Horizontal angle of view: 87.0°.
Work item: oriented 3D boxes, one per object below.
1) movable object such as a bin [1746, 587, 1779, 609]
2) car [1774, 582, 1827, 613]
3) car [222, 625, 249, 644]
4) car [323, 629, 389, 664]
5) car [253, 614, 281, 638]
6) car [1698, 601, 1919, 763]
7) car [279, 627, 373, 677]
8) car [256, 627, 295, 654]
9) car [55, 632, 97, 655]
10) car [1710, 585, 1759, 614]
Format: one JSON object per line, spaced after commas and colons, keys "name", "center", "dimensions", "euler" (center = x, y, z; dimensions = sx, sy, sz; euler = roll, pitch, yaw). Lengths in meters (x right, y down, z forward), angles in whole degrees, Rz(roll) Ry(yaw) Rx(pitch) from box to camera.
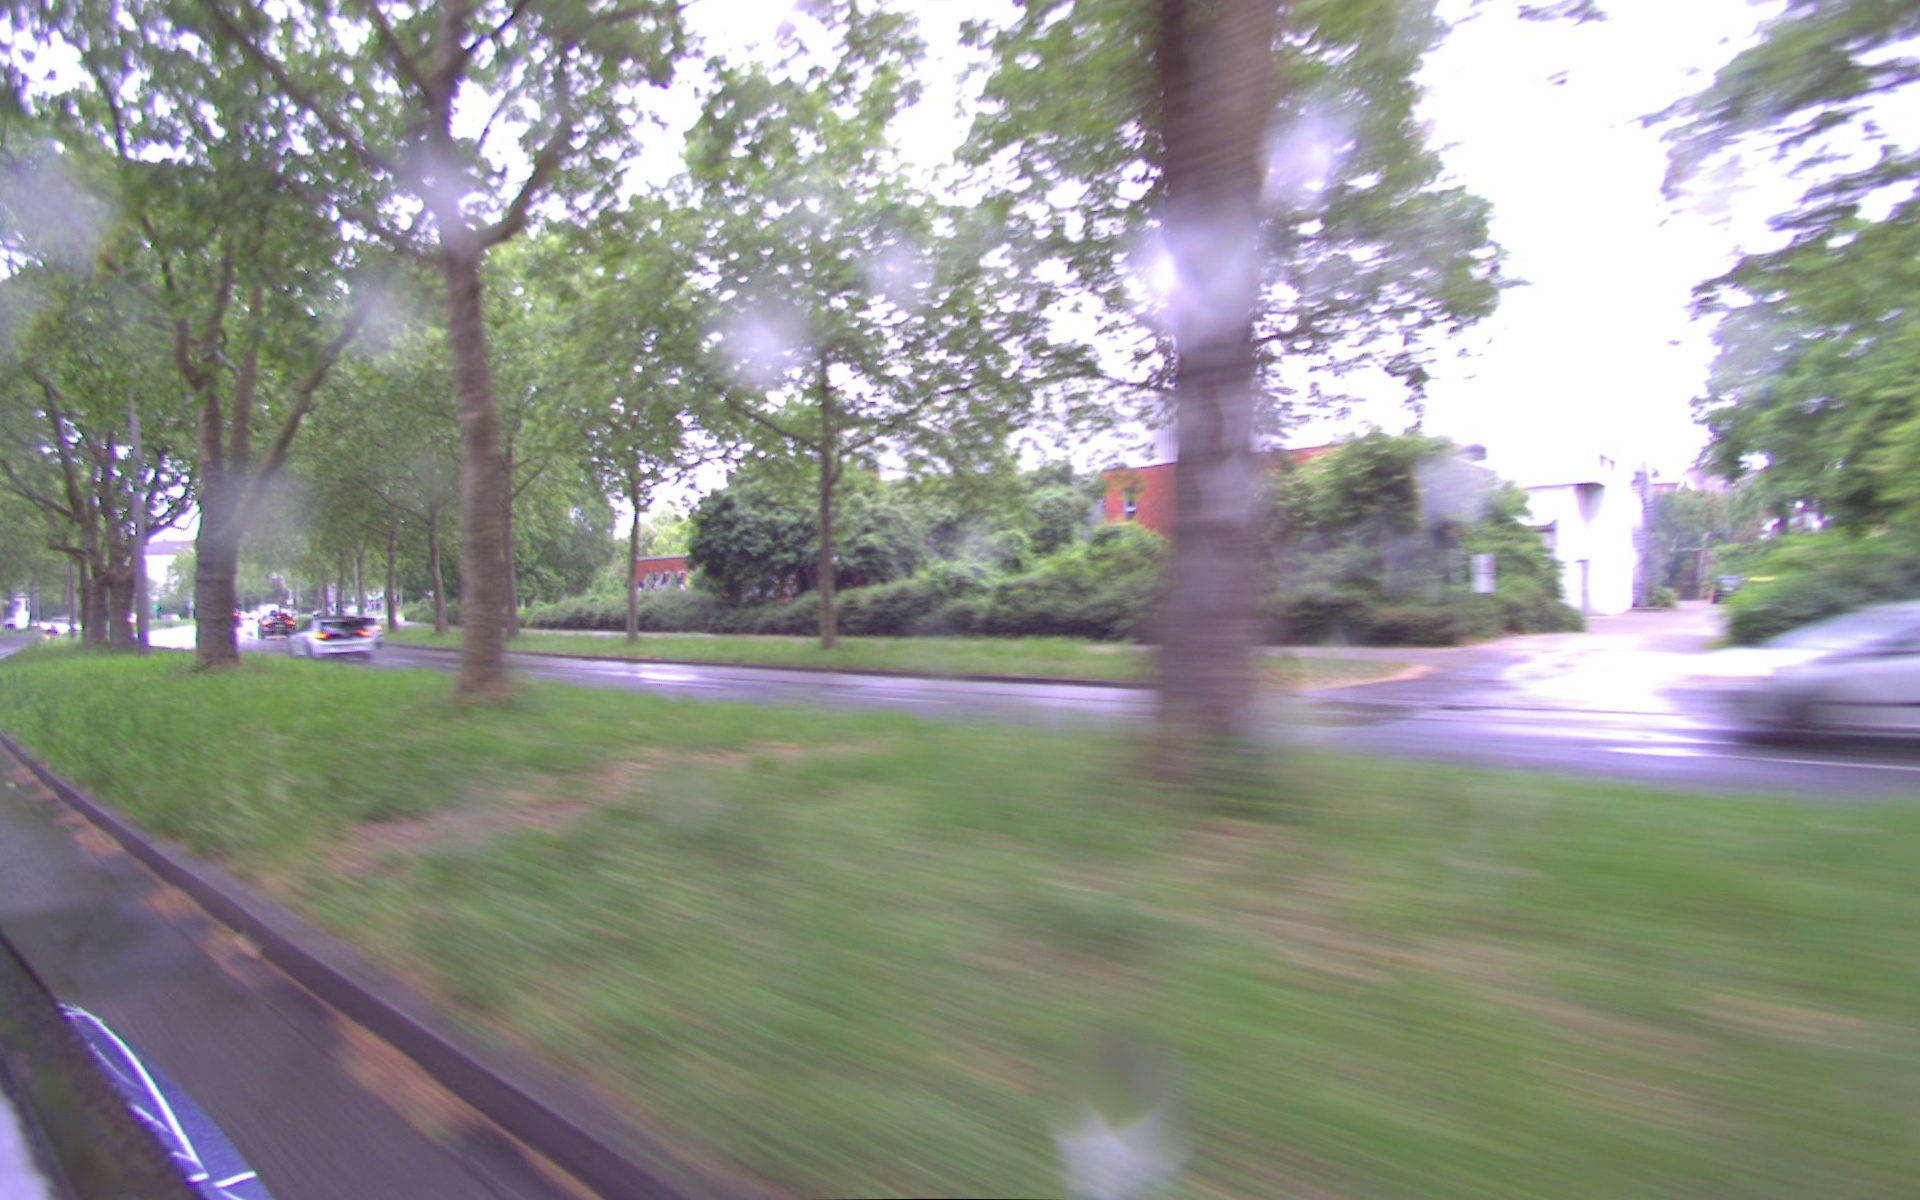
{"name": "movable object such as a bin", "center": [47.239, -0.115, 59.558], "dimensions": [1.059, 1.217, 1.353], "euler": [-2, 1, -43]}
{"name": "car", "center": [45.866, -0.140, 55.212], "dimensions": [4.307, 1.578, 1.750], "euler": [-1, -1, -44]}
{"name": "car", "center": [-74.026, 3.493, 103.452], "dimensions": [2.002, 1.749, 4.968], "euler": [-1, 0, -33]}
{"name": "car", "center": [-27.336, 2.069, 45.763], "dimensions": [1.723, 1.470, 3.844], "euler": [-1, -1, -44]}
{"name": "car", "center": [-68.947, 2.620, 100.665], "dimensions": [2.003, 2.243, 5.446], "euler": [-1, -1, -37]}
{"name": "car", "center": [9.840, 0.763, 9.956], "dimensions": [4.078, 1.487, 1.726], "euler": [-2, -1, 39]}
{"name": "car", "center": [-21.174, 1.690, 33.729], "dimensions": [1.723, 1.487, 4.413], "euler": [-1, -1, -44]}
{"name": "car", "center": [-43.687, 2.541, 64.665], "dimensions": [1.719, 1.573, 4.381], "euler": [-1, 0, -30]}
{"name": "car", "center": [-69.717, 3.390, 79.890], "dimensions": [1.967, 1.641, 4.533], "euler": [-2, 0, -35]}
{"name": "car", "center": [44.839, -0.062, 58.571], "dimensions": [3.380, 1.578, 1.750], "euler": [-1, -1, -44]}
